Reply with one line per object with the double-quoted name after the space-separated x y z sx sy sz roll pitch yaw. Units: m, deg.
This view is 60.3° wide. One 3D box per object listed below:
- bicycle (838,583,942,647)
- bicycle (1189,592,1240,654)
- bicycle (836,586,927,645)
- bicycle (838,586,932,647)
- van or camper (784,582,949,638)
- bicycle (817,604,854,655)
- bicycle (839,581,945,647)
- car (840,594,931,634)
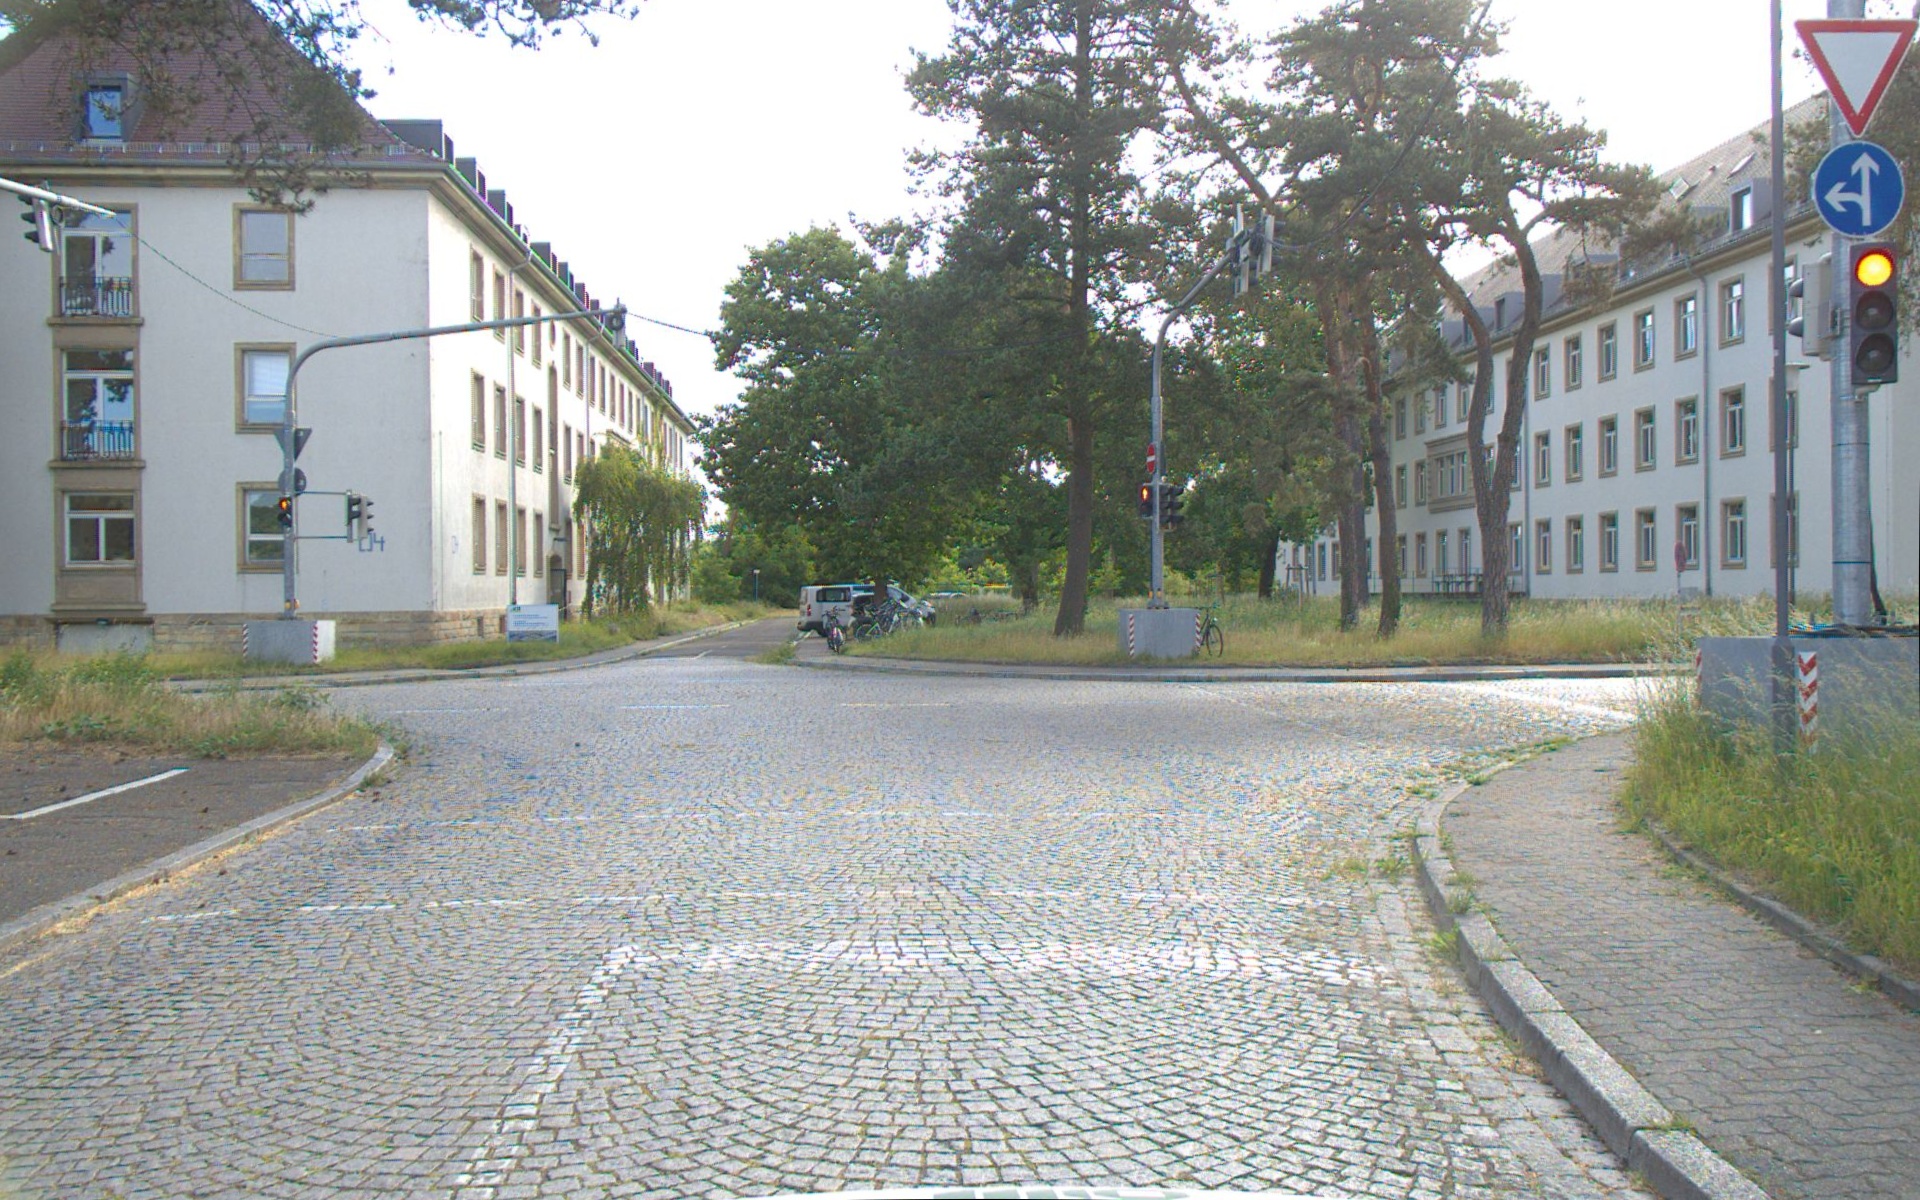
-1.949 0.400 45.938 2.726 1.723 1.117 -1 0 -11 "bicycle"
5.128 0.448 33.423 0.709 1.189 2.738 1 0 3 "bicycle"
-2.402 0.472 50.818 2.720 1.724 1.119 2 0 -3 "bicycle"
-2.233 0.489 49.489 2.719 1.724 1.120 2 0 0 "bicycle"
-3.537 0.349 62.631 5.938 1.983 1.990 -1 0 -18 "van or camper"
-3.030 0.701 40.377 0.711 1.127 2.461 -5 0 -2 "bicycle"
-1.847 0.376 44.749 2.724 1.723 1.118 -1 0 -10 "bicycle"
-2.689 0.473 59.107 3.080 1.378 1.616 -1 0 -10 "car"
